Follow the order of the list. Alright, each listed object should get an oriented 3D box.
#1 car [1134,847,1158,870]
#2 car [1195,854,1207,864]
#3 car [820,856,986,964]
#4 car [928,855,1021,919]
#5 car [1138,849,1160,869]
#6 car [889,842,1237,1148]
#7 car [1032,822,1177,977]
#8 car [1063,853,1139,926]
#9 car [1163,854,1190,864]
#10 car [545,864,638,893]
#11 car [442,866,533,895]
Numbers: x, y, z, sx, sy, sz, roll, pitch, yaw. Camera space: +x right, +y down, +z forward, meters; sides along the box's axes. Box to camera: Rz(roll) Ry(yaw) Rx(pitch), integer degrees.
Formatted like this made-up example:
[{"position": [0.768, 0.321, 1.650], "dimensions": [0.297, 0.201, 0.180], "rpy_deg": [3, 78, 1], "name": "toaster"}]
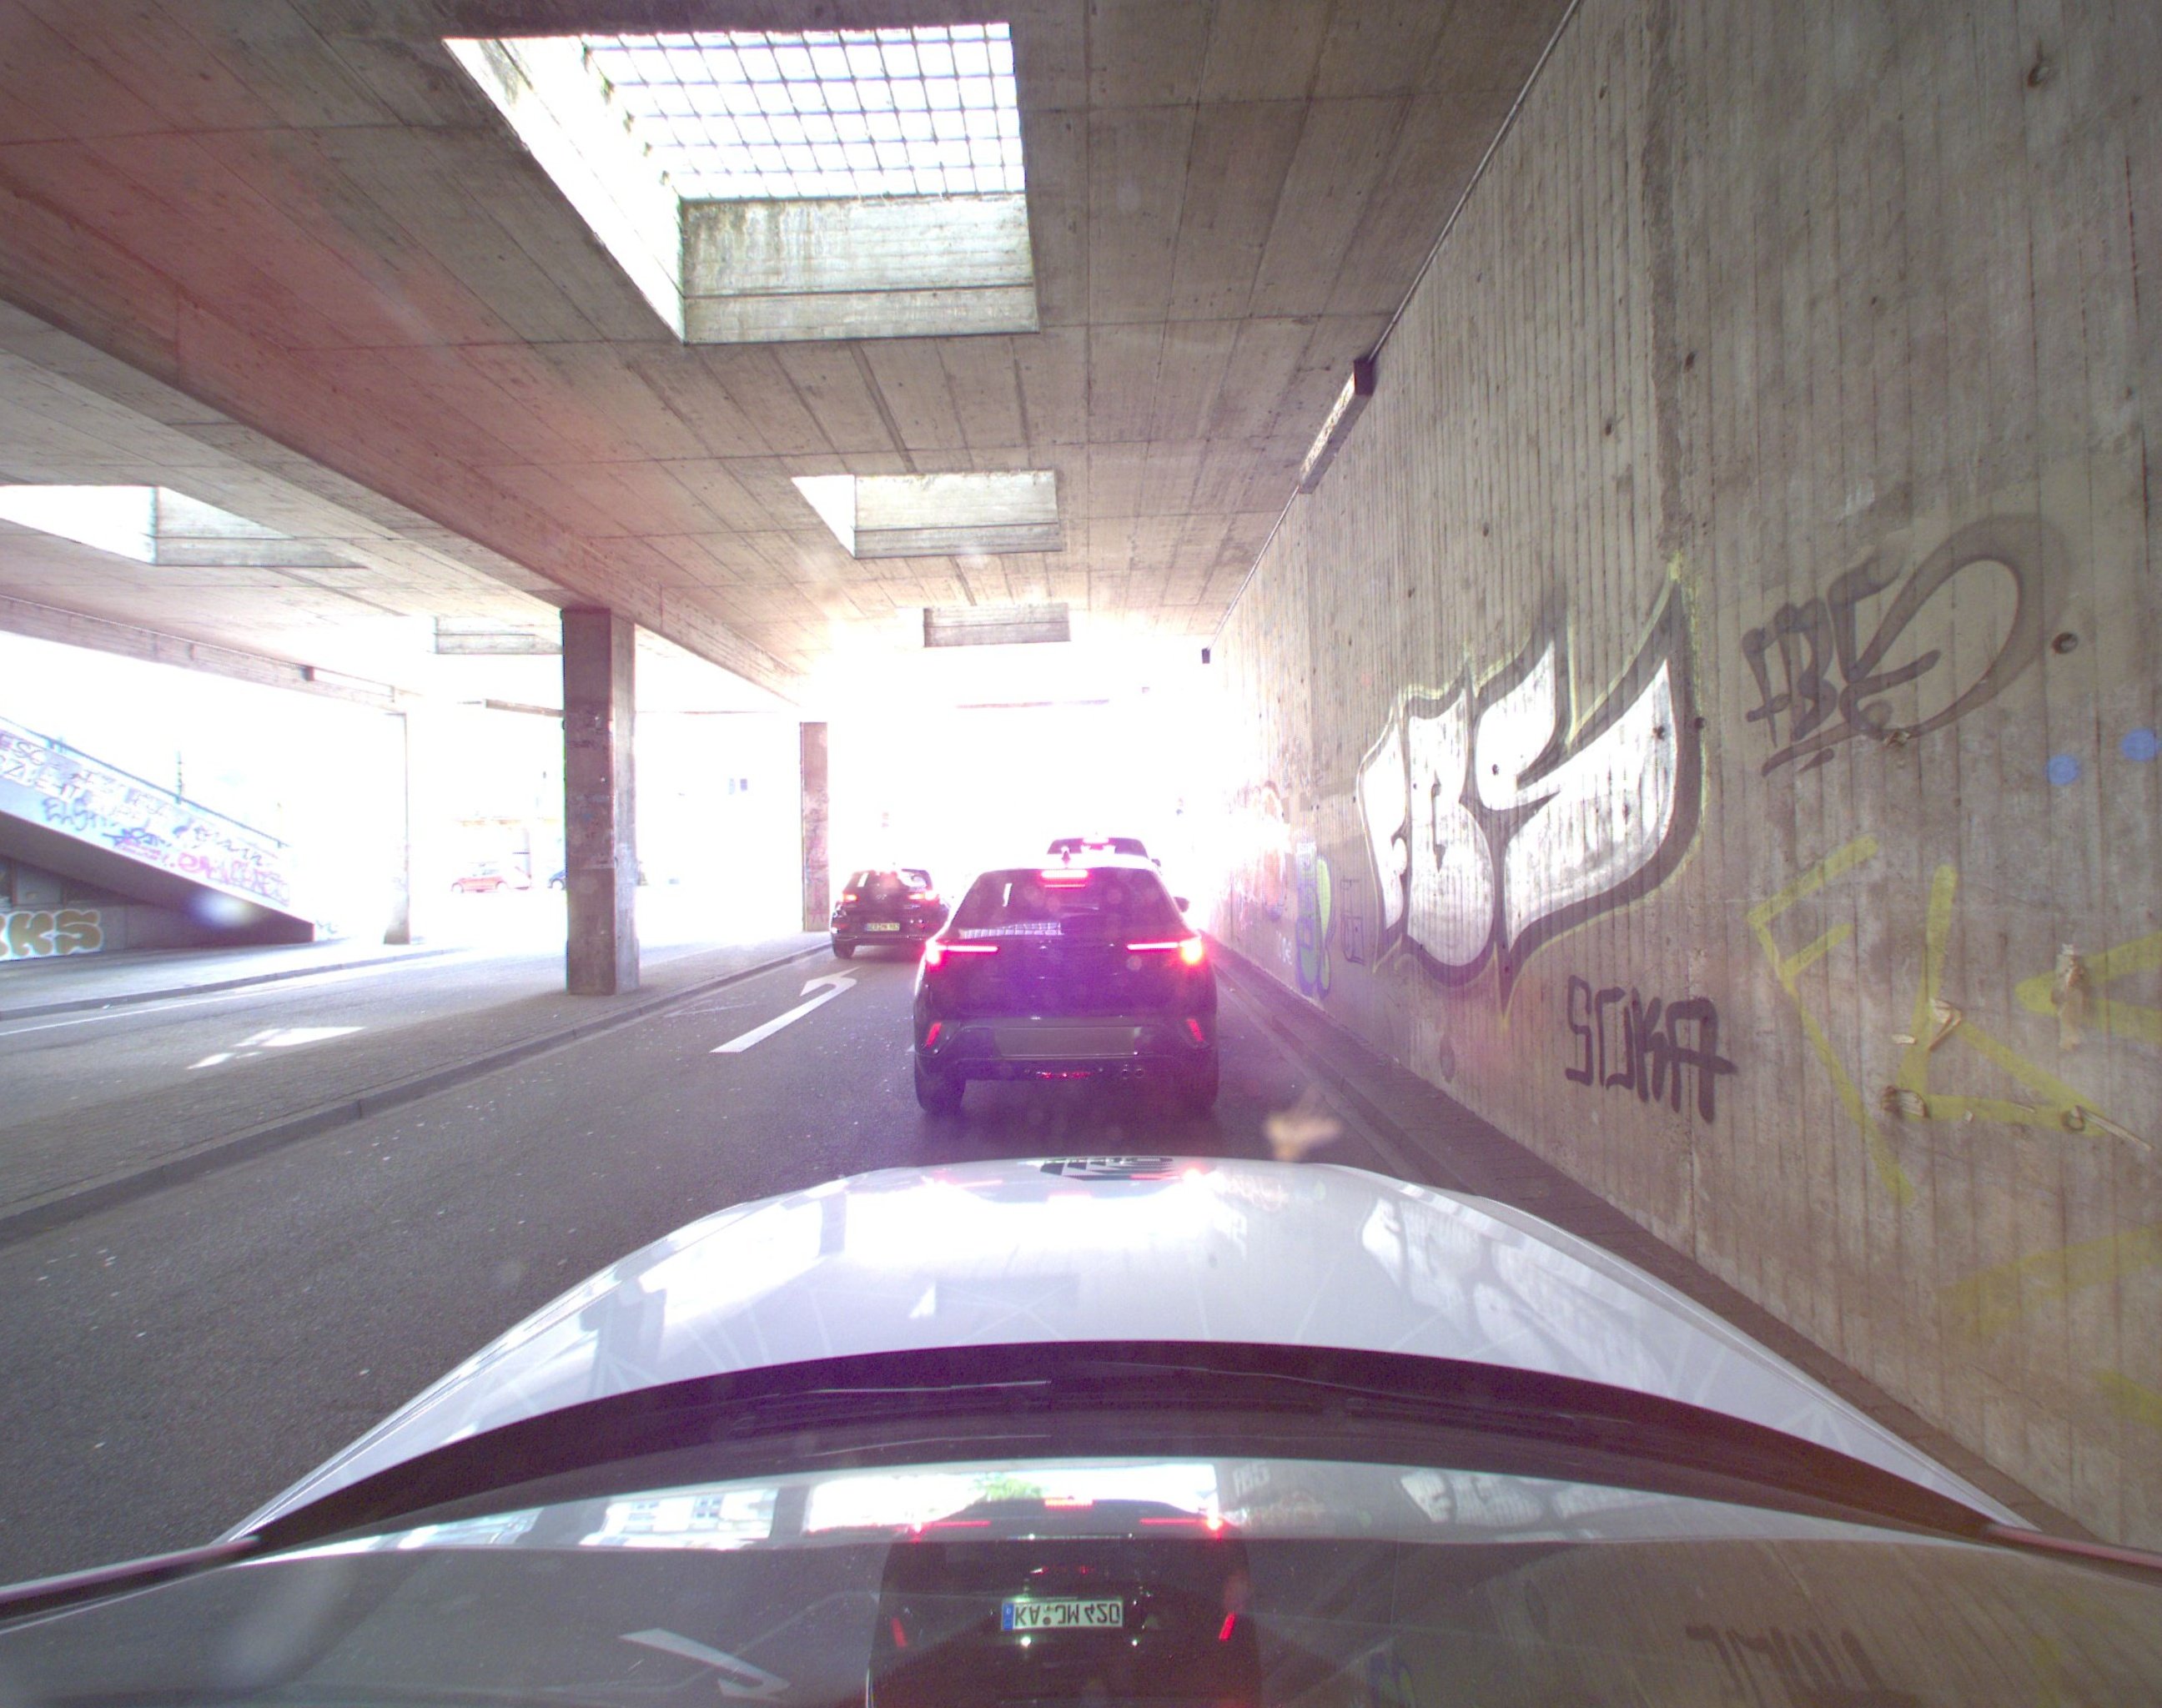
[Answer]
[{"position": [4.973, 0.371, 62.239], "dimensions": [1.745, 1.667, 3.950], "rpy_deg": [0, -1, 6], "name": "car"}, {"position": [20.320, 0.862, 138.111], "dimensions": [1.742, 1.667, 3.958], "rpy_deg": [-1, -1, 13], "name": "car"}, {"position": [-2.750, 0.800, 13.472], "dimensions": [1.755, 1.480, 3.846], "rpy_deg": [-1, 0, 2], "name": "car"}, {"position": [-2.660, 0.796, 21.200], "dimensions": [1.755, 1.480, 3.846], "rpy_deg": [-1, 0, 2], "name": "car"}, {"position": [5.761, 0.414, 68.343], "dimensions": [1.745, 1.667, 3.950], "rpy_deg": [0, -1, 6], "name": "car"}, {"position": [-0.030, 0.725, 6.213], "dimensions": [1.755, 1.531, 4.091], "rpy_deg": [-1, 0, 2], "name": "car"}, {"position": [0.355, 0.565, 12.152], "dimensions": [1.755, 1.883, 4.148], "rpy_deg": [-1, 0, 2], "name": "car"}, {"position": [0.492, 0.759, 19.370], "dimensions": [1.603, 1.513, 4.055], "rpy_deg": [-1, 0, 2], "name": "car"}, {"position": [15.824, 0.870, 134.907], "dimensions": [4.842, 1.667, 1.801], "rpy_deg": [0, -1, -43], "name": "car"}, {"position": [-27.169, 1.339, 45.282], "dimensions": [4.096, 1.475, 1.737], "rpy_deg": [-1, -1, 0], "name": "car"}, {"position": [-32.925, 1.466, 45.261], "dimensions": [3.748, 1.475, 1.749], "rpy_deg": [-1, -1, 0], "name": "car"}]
